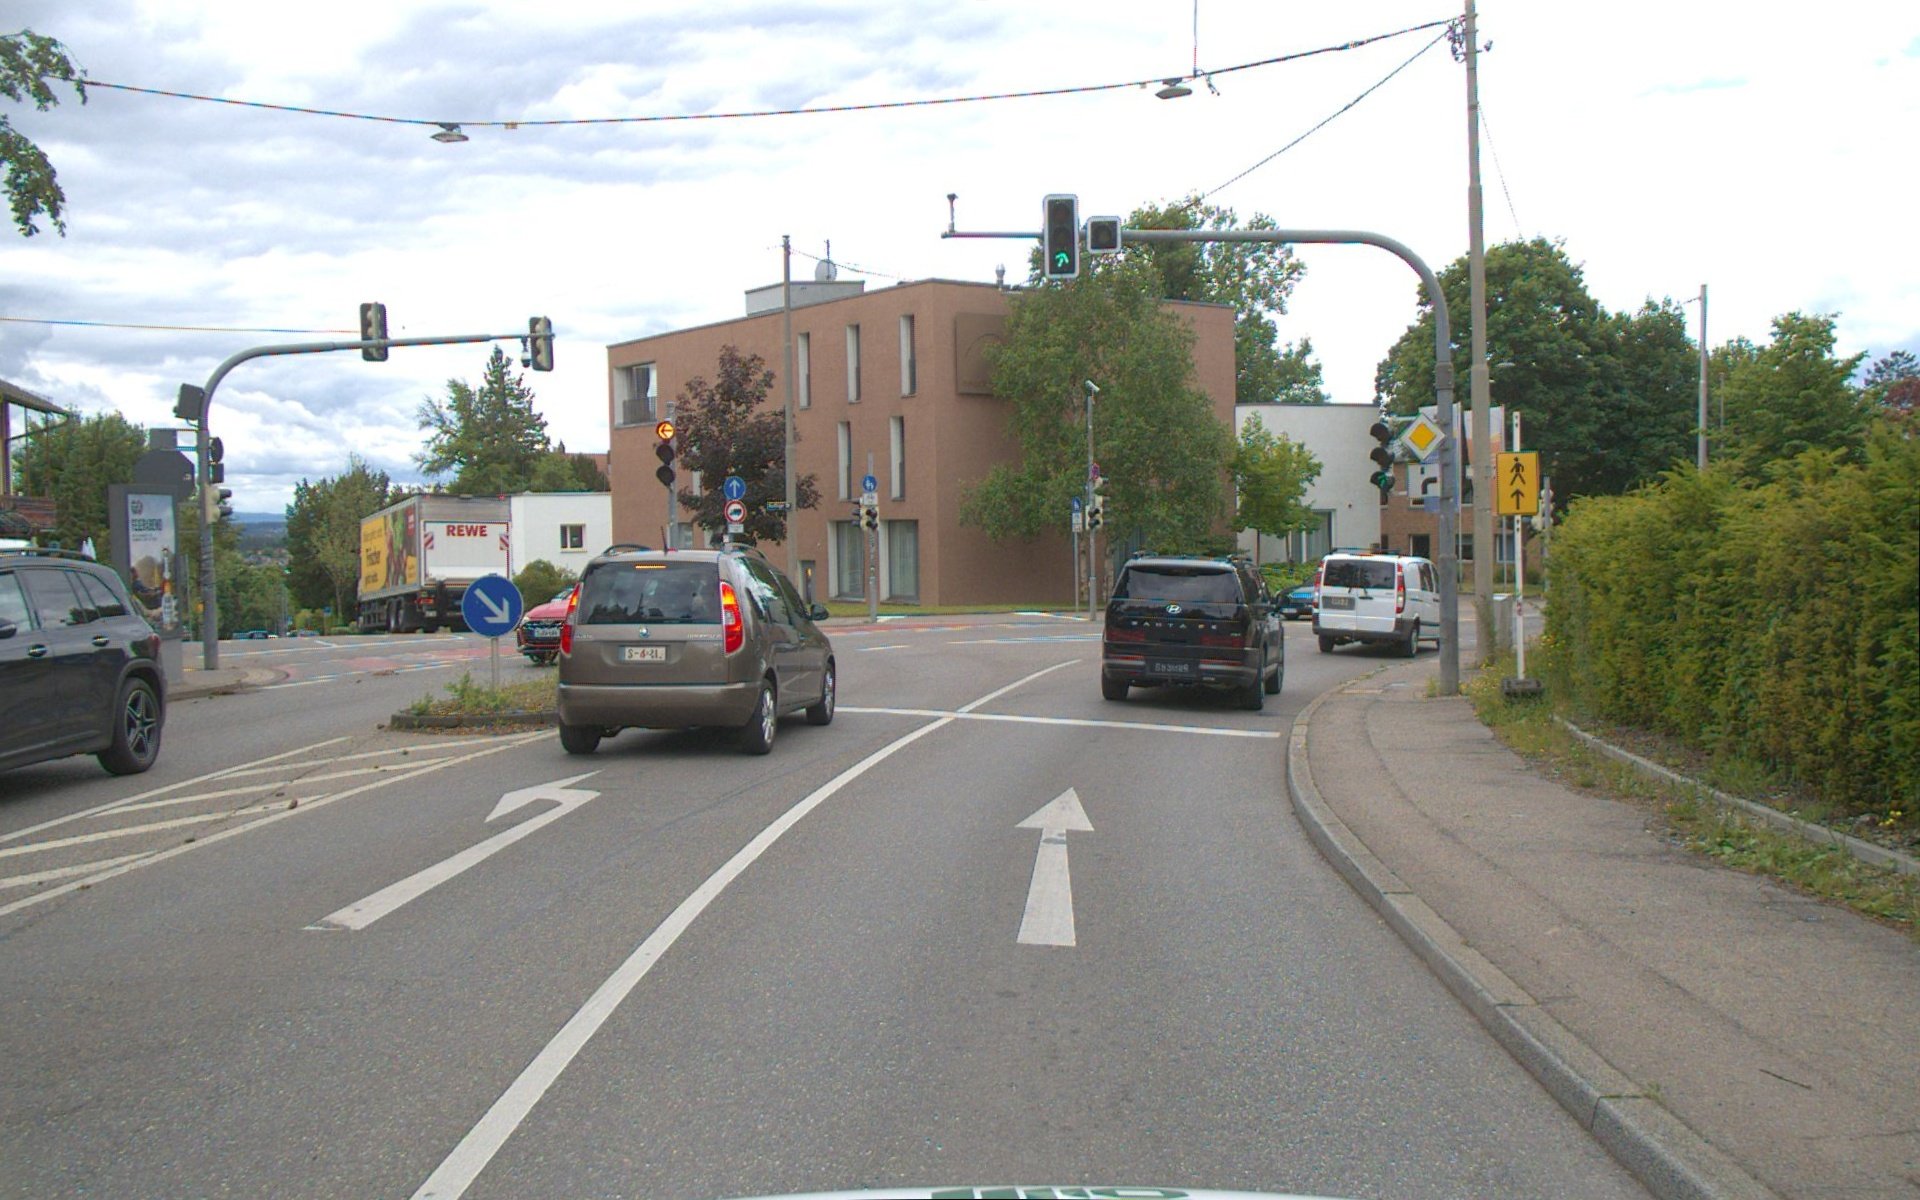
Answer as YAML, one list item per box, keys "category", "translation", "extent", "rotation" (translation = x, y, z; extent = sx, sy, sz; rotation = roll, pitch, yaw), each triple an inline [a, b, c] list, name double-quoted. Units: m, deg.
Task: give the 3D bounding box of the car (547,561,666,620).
- category: "car"
  translation: [-13.404, -0.393, 62.732]
  extent: [3.952, 2.048, 1.977]
  rotation: [-3, 2, -34]

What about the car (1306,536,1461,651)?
- category: "car"
  translation: [8.478, -0.212, 32.871]
  extent: [1.925, 2.048, 4.422]
  rotation: [2, 3, 28]

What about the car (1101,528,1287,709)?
- category: "car"
  translation: [2.821, 0.137, 20.195]
  extent: [1.951, 1.914, 4.004]
  rotation: [2, 2, 7]

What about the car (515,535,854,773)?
- category: "car"
  translation: [-2.199, 0.346, 14.395]
  extent: [1.853, 1.735, 4.004]
  rotation: [-2, 2, 6]

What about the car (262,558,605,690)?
- category: "car"
  translation: [-7.286, 0.267, 23.220]
  extent: [1.962, 1.591, 4.199]
  rotation: [0, 2, 38]

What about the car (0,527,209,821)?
- category: "car"
  translation: [-7.002, 0.501, 11.001]
  extent: [1.954, 1.828, 4.519]
  rotation: [-4, 2, -2]

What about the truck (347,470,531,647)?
- category: "truck"
  translation: [-16.350, -1.291, 51.148]
  extent: [3.091, 4.816, 11.682]
  rotation: [-3, 2, -29]

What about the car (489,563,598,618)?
- category: "car"
  translation: [-17.448, -0.422, 69.354]
  extent: [3.951, 2.048, 1.977]
  rotation: [-4, 2, -33]

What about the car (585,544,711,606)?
- category: "car"
  translation: [-11.131, -0.914, 59.044]
  extent: [3.950, 2.048, 1.978]
  rotation: [-3, 2, -33]

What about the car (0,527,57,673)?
- category: "car"
  translation: [-16.881, -0.007, 28.450]
  extent: [2.256, 2.266, 6.409]
  rotation: [-3, 2, -29]

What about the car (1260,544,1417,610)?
- category: "car"
  translation: [10.650, -0.681, 46.347]
  extent: [4.747, 1.687, 1.968]
  rotation: [-3, 2, -43]
